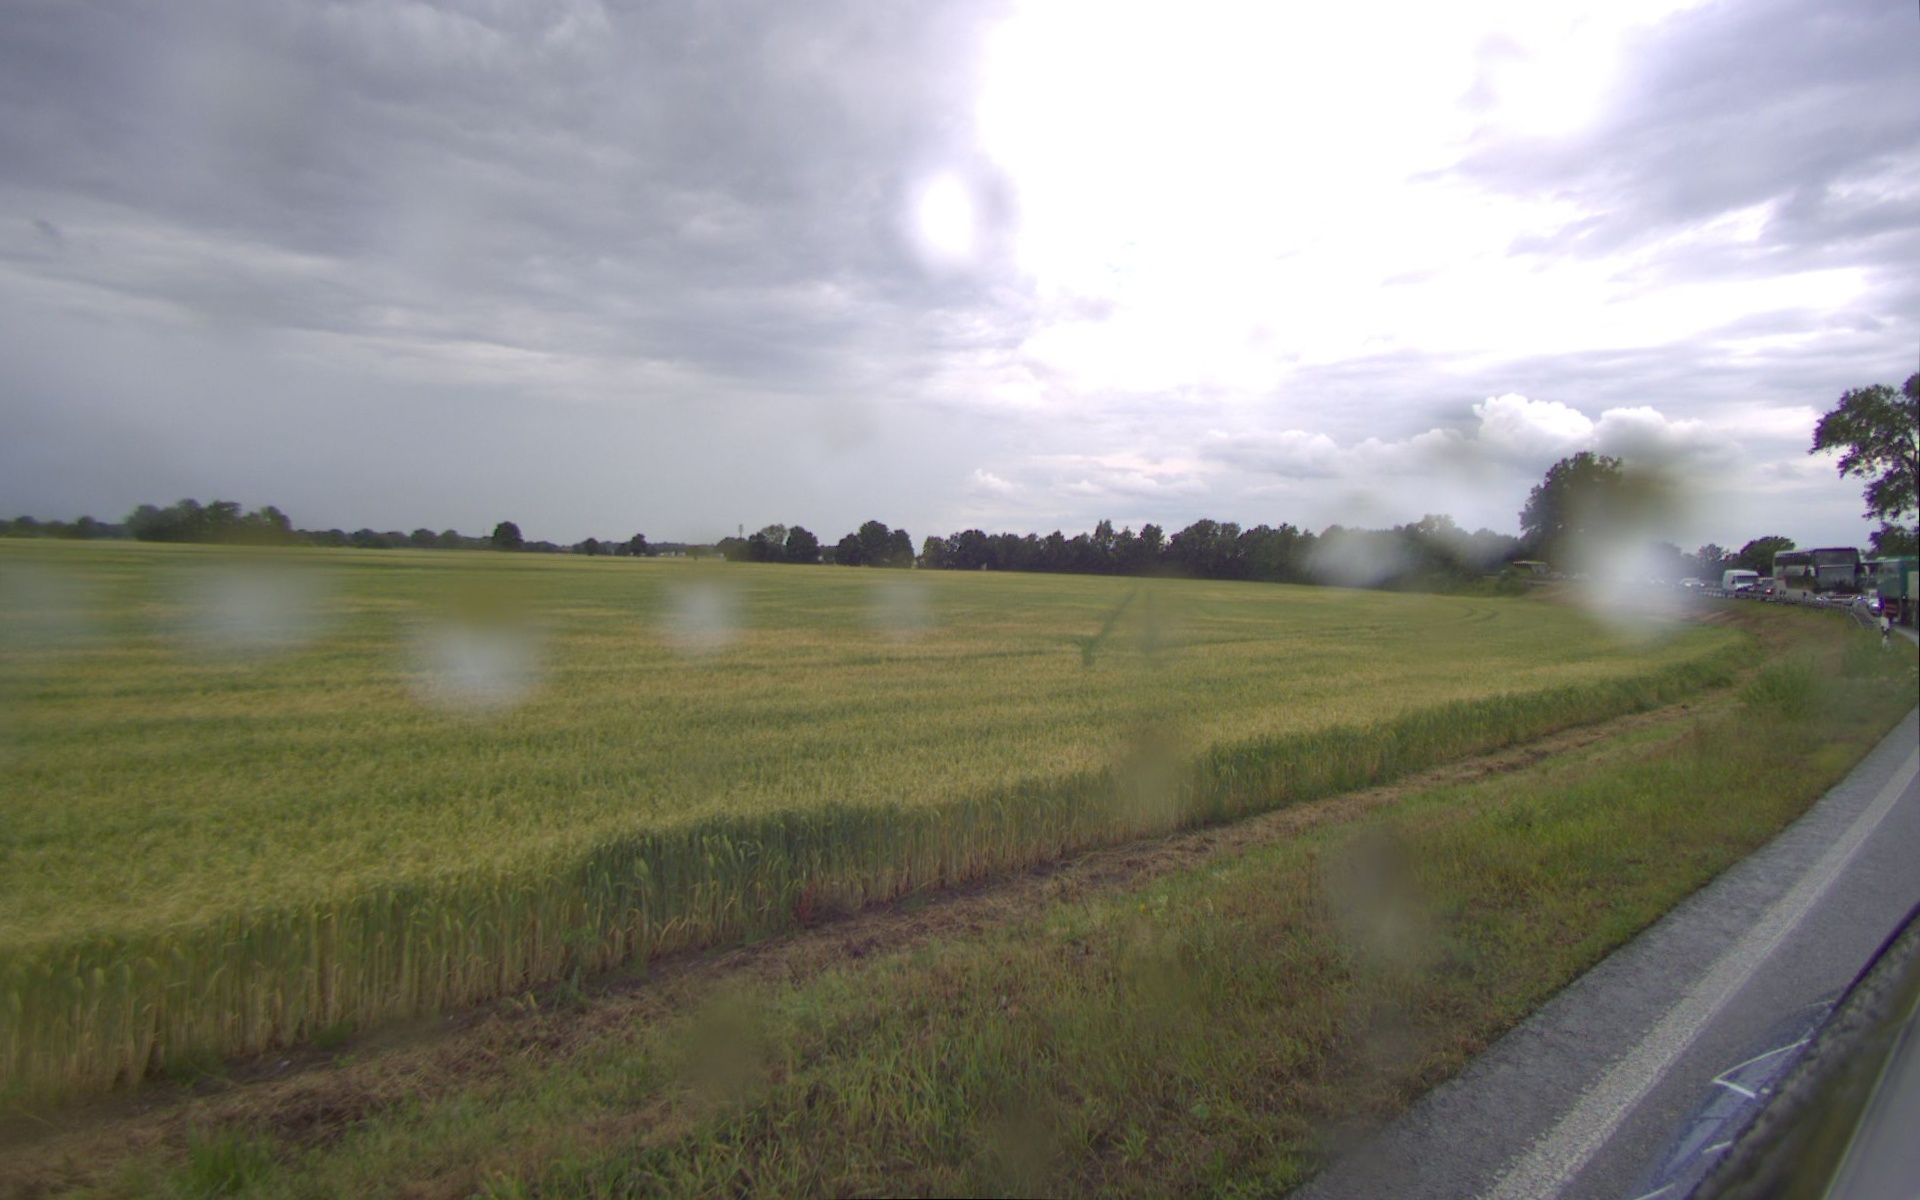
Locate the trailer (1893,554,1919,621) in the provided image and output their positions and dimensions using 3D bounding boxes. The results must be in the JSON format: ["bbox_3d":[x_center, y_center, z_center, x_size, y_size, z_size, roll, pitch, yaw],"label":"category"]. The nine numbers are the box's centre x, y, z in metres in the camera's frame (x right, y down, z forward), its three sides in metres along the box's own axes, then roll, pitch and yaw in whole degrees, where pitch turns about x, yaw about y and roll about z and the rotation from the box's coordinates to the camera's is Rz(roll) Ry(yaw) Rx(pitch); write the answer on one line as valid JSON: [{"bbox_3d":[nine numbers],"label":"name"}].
[{"bbox_3d":[40.591,-0.587,40.991,2.970,2.665,15.465,-1,1,39],"label":"trailer"}]

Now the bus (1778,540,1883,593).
[{"bbox_3d":[61.405,-2.441,71.808,2.941,3.353,14.684,-1,2,30],"label":"bus"}]

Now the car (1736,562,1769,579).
[{"bbox_3d":[103.439,-3.857,132.114,1.973,2.039,4.098,-1,1,17],"label":"car"}]

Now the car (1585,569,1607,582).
[{"bbox_3d":[102.292,-3.971,162.804,1.974,2.039,4.206,-1,1,19],"label":"car"}]

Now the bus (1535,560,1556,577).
[{"bbox_3d":[110.116,-5.876,190.265,1.974,2.951,6.969,-1,1,18],"label":"bus"}]

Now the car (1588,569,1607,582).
[{"bbox_3d":[107.756,-4.122,171.115,1.852,2.039,4.205,-1,1,20],"label":"car"}]

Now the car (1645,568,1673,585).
[{"bbox_3d":[88.918,-3.032,128.703,1.976,2.039,4.202,-1,1,21],"label":"car"}]

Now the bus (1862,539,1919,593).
[{"bbox_3d":[63.334,-2.194,67.352,2.745,3.339,12.361,0,0,32],"label":"bus"}]

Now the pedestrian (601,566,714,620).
[{"bbox_3d":[-12.045,-0.319,40.458,1.987,2.039,3.950,-1,1,35],"label":"pedestrian"}]

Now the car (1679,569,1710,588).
[{"bbox_3d":[82.666,-2.387,113.977,1.978,2.039,4.198,-1,1,24],"label":"car"}]

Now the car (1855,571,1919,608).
[{"bbox_3d":[50.410,-0.584,54.909,2.029,1.865,5.271,-1,1,34],"label":"car"}]

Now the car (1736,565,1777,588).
[{"bbox_3d":[73.377,-2.187,93.295,1.981,2.039,5.286,-1,1,27],"label":"car"}]
